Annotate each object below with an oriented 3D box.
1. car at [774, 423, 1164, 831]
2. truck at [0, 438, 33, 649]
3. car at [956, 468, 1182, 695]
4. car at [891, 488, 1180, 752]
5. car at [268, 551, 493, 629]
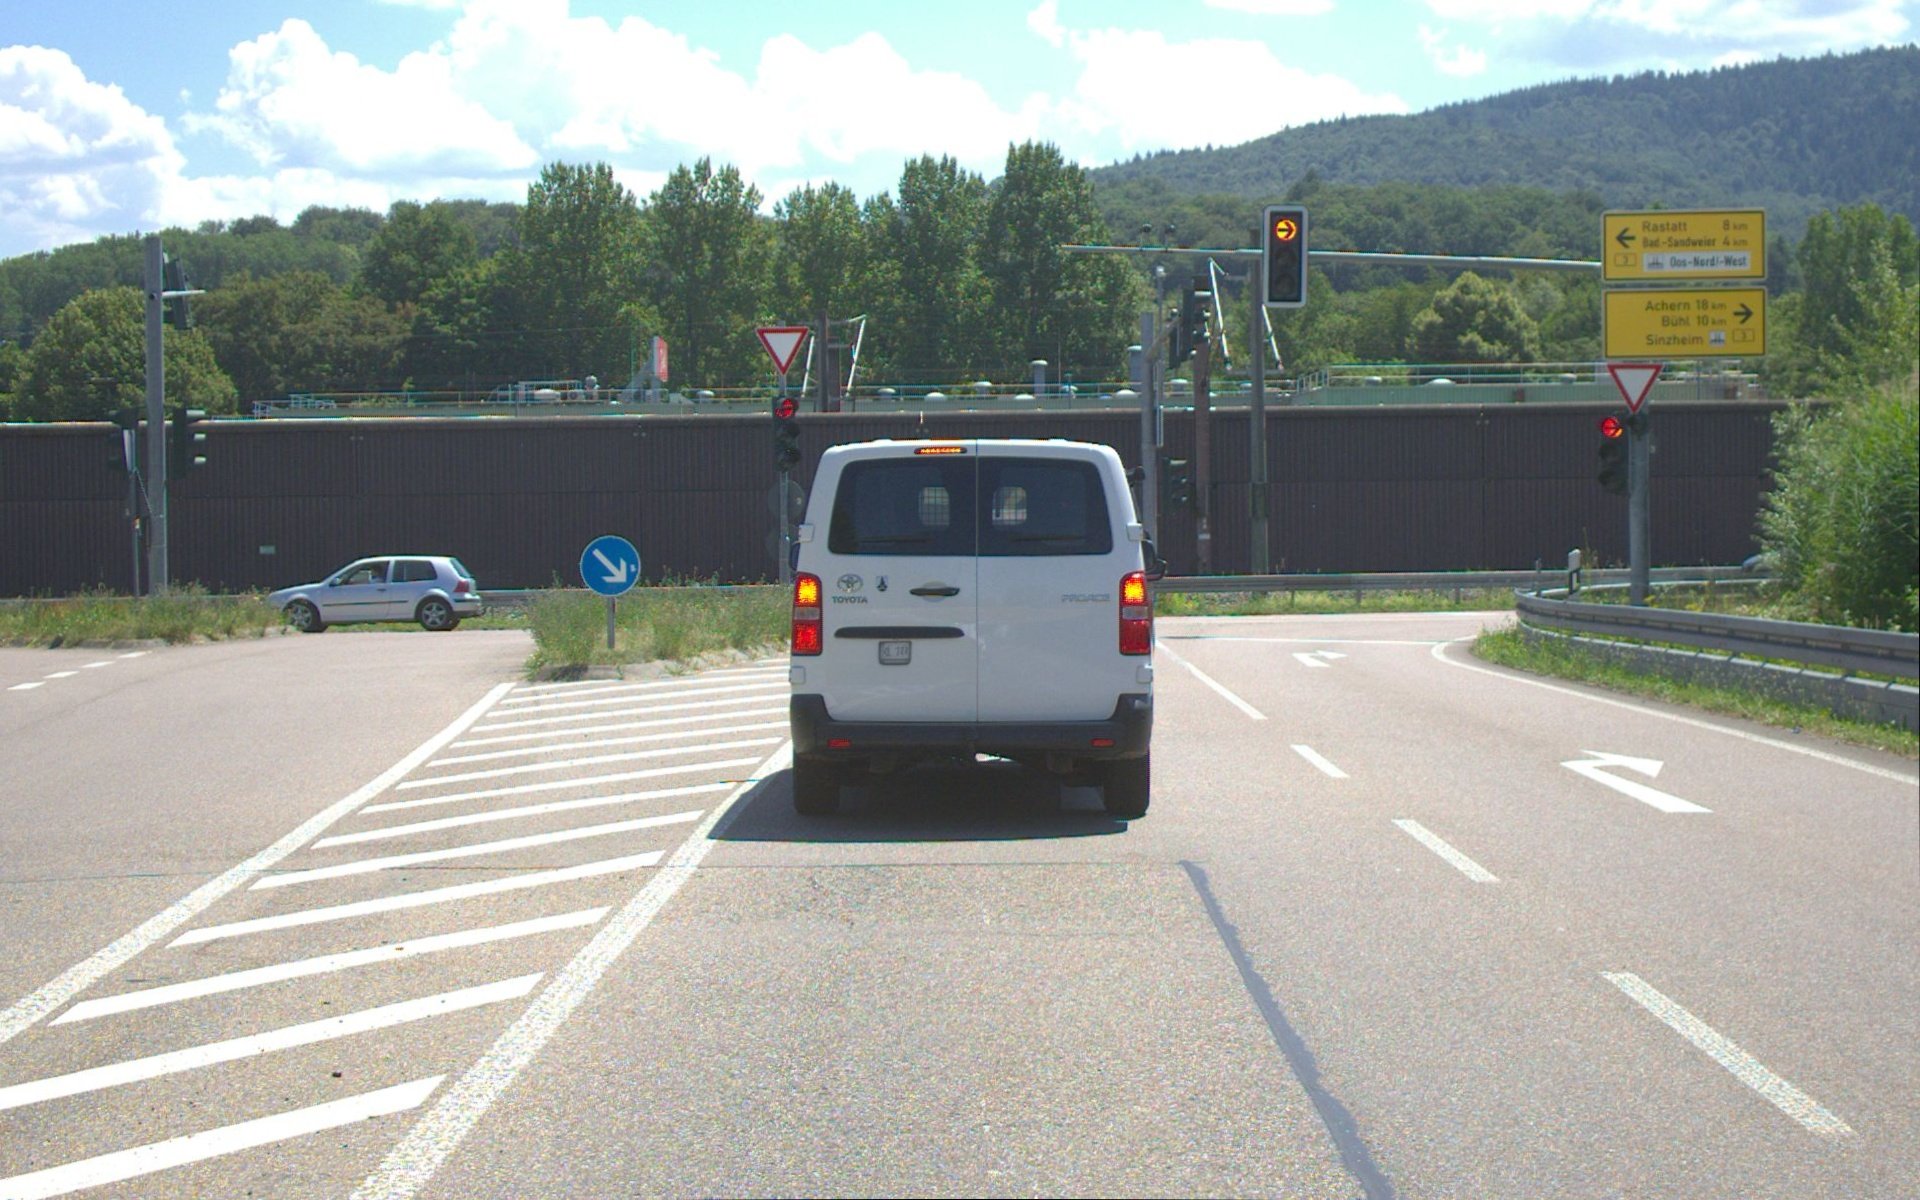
[{"bbox_3d":[0.058,0.095,18.517,1.870,1.958,4.000,0,1,0],"label":"car"},{"bbox_3d":[-19.720,-0.844,58.018,7.405,3.492,2.233,-2,2,-1],"label":"truck"},{"bbox_3d":[1.022,-0.203,33.491,1.993,2.006,4.000,-2,1,1],"label":"car"},{"bbox_3d":[0.565,0.111,26.490,1.993,1.806,4.000,-2,1,1],"label":"car"},{"bbox_3d":[-11.019,-0.202,65.544,3.987,1.345,1.849,1,3,0],"label":"car"}]
